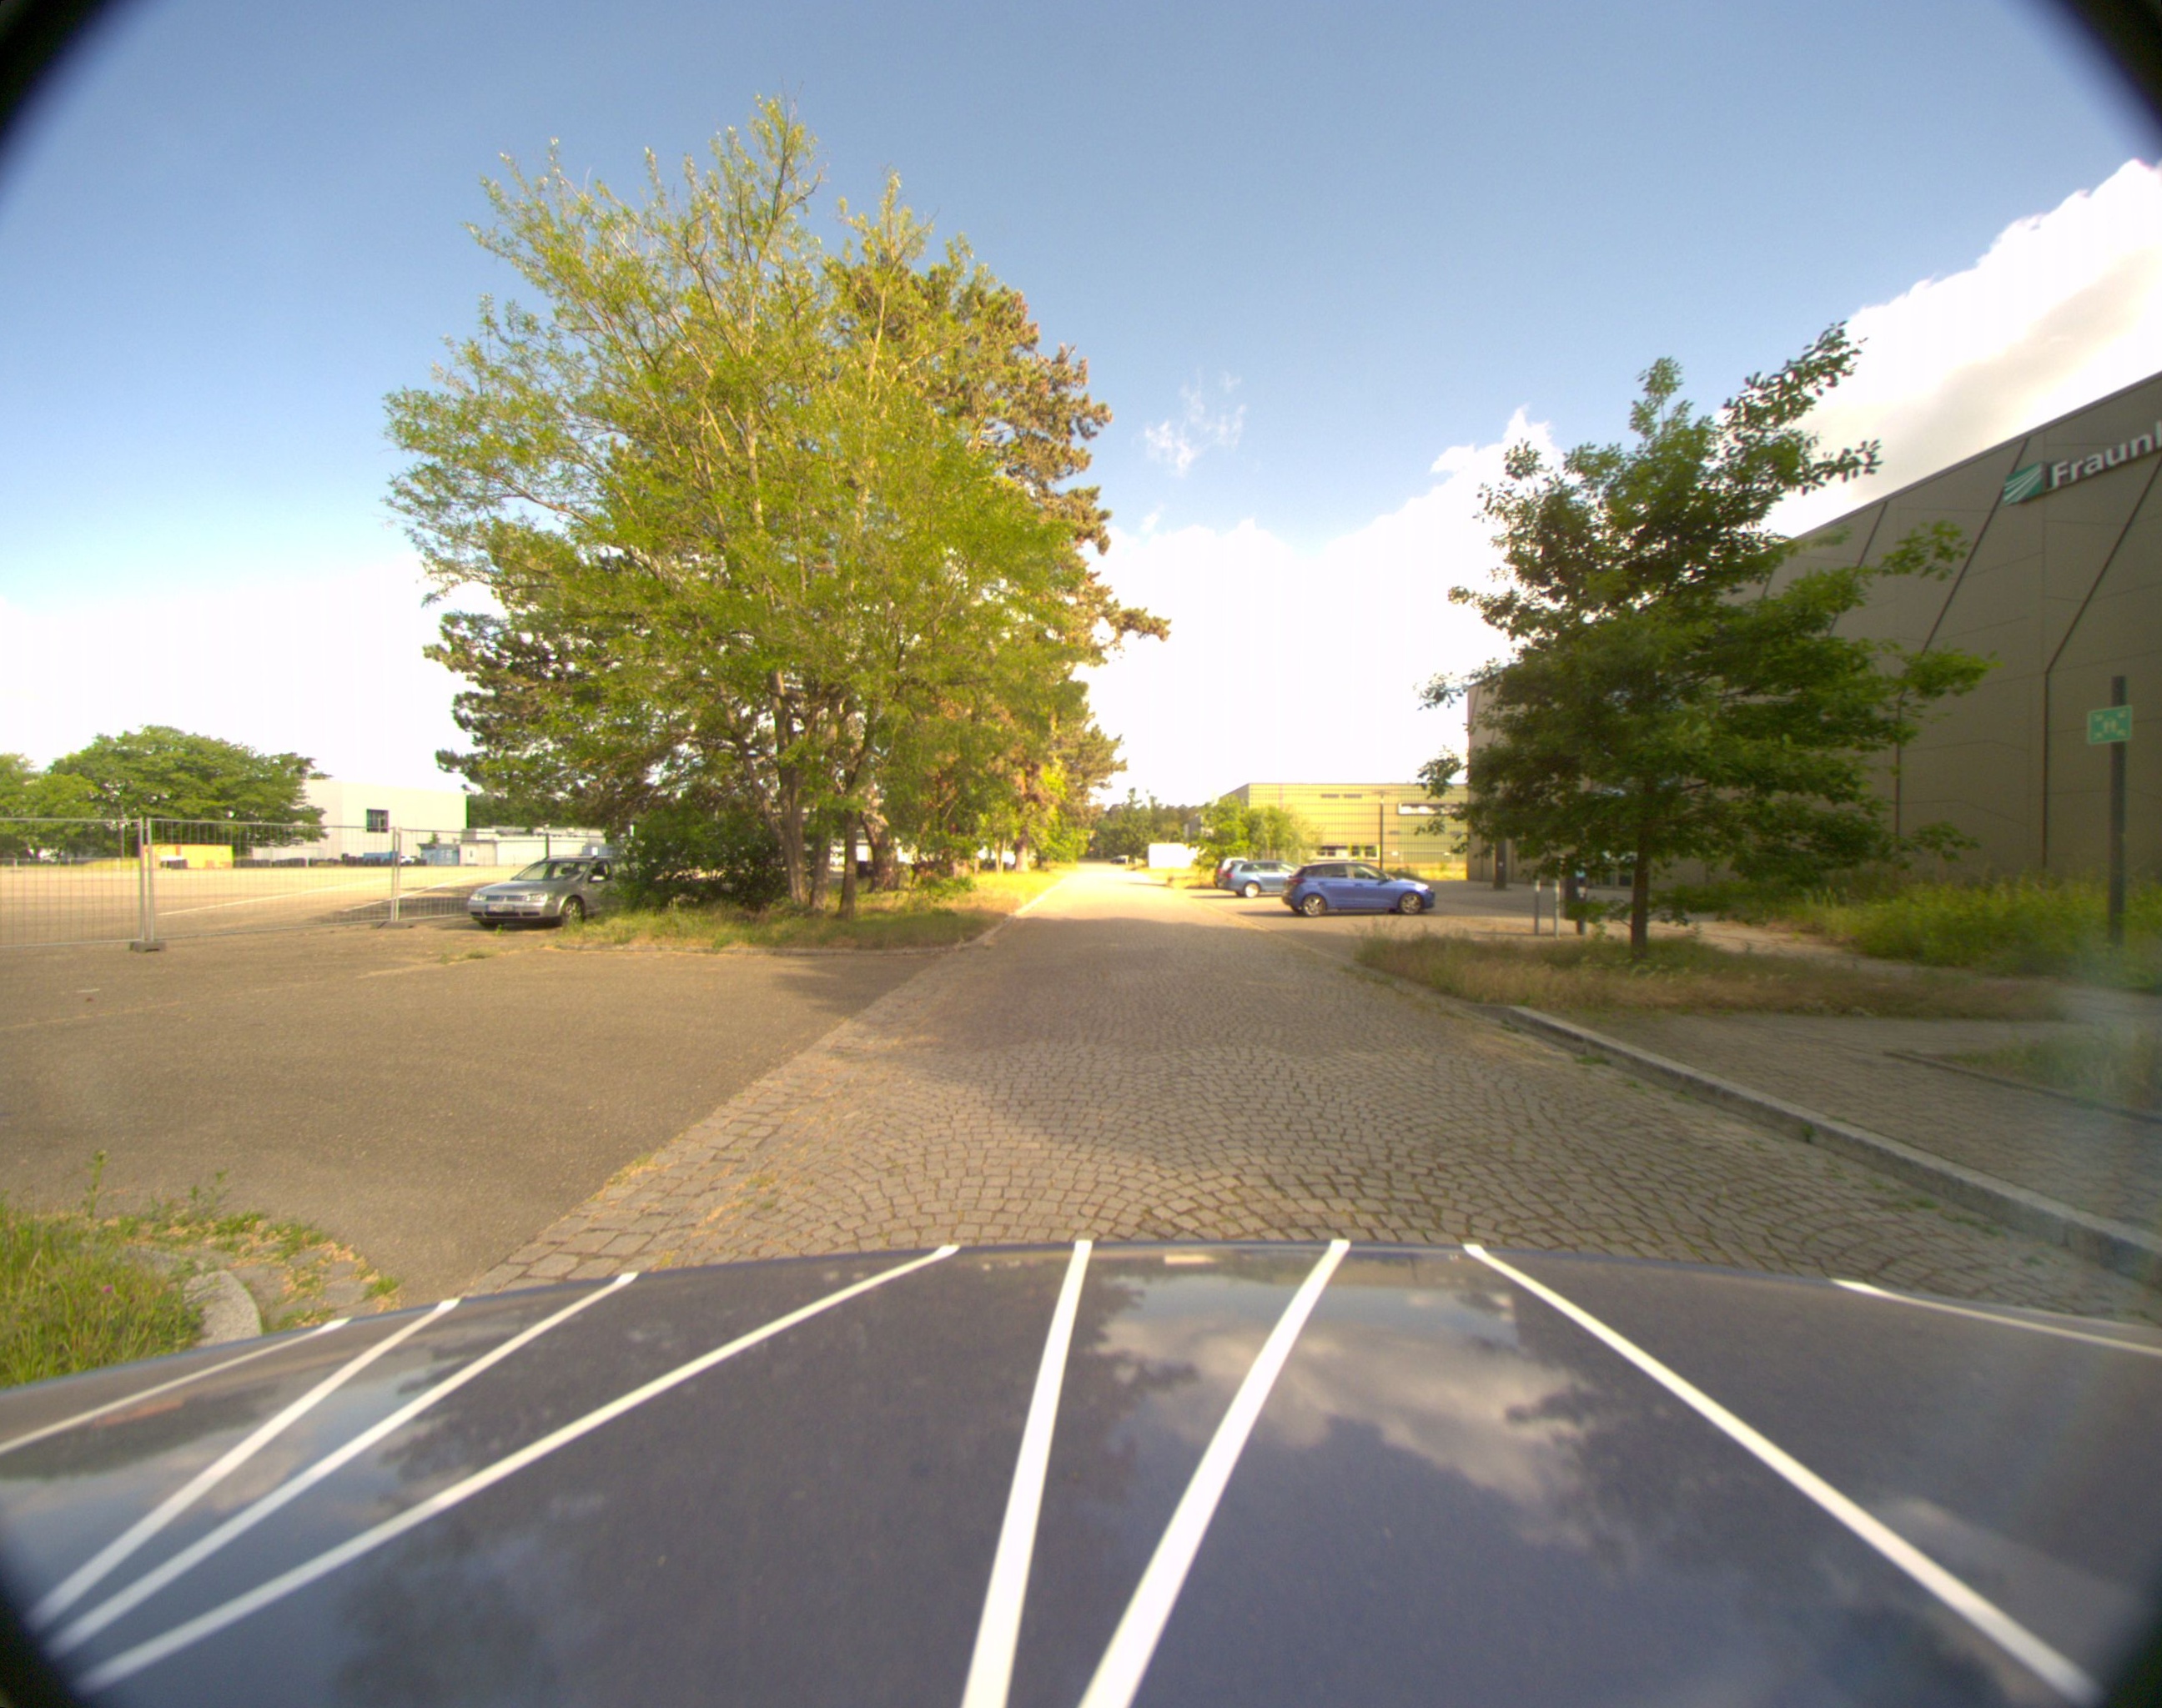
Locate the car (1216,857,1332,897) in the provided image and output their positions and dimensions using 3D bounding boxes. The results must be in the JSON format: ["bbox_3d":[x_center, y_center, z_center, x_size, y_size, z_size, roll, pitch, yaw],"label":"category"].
[{"bbox_3d":[7.692,0.919,30.567,4.179,1.465,1.734,-1,0,-1],"label":"car"}]

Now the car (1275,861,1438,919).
[{"bbox_3d":[7.555,0.982,21.115,3.917,1.459,1.735,-1,0,4],"label":"car"}]

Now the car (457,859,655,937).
[{"bbox_3d":[-10.963,0.836,16.252,1.578,1.435,3.985,0,0,-2],"label":"car"}]

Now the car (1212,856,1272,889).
[{"bbox_3d":[8.023,0.892,37.952,2.652,1.559,1.481,-1,0,0],"label":"car"}]
